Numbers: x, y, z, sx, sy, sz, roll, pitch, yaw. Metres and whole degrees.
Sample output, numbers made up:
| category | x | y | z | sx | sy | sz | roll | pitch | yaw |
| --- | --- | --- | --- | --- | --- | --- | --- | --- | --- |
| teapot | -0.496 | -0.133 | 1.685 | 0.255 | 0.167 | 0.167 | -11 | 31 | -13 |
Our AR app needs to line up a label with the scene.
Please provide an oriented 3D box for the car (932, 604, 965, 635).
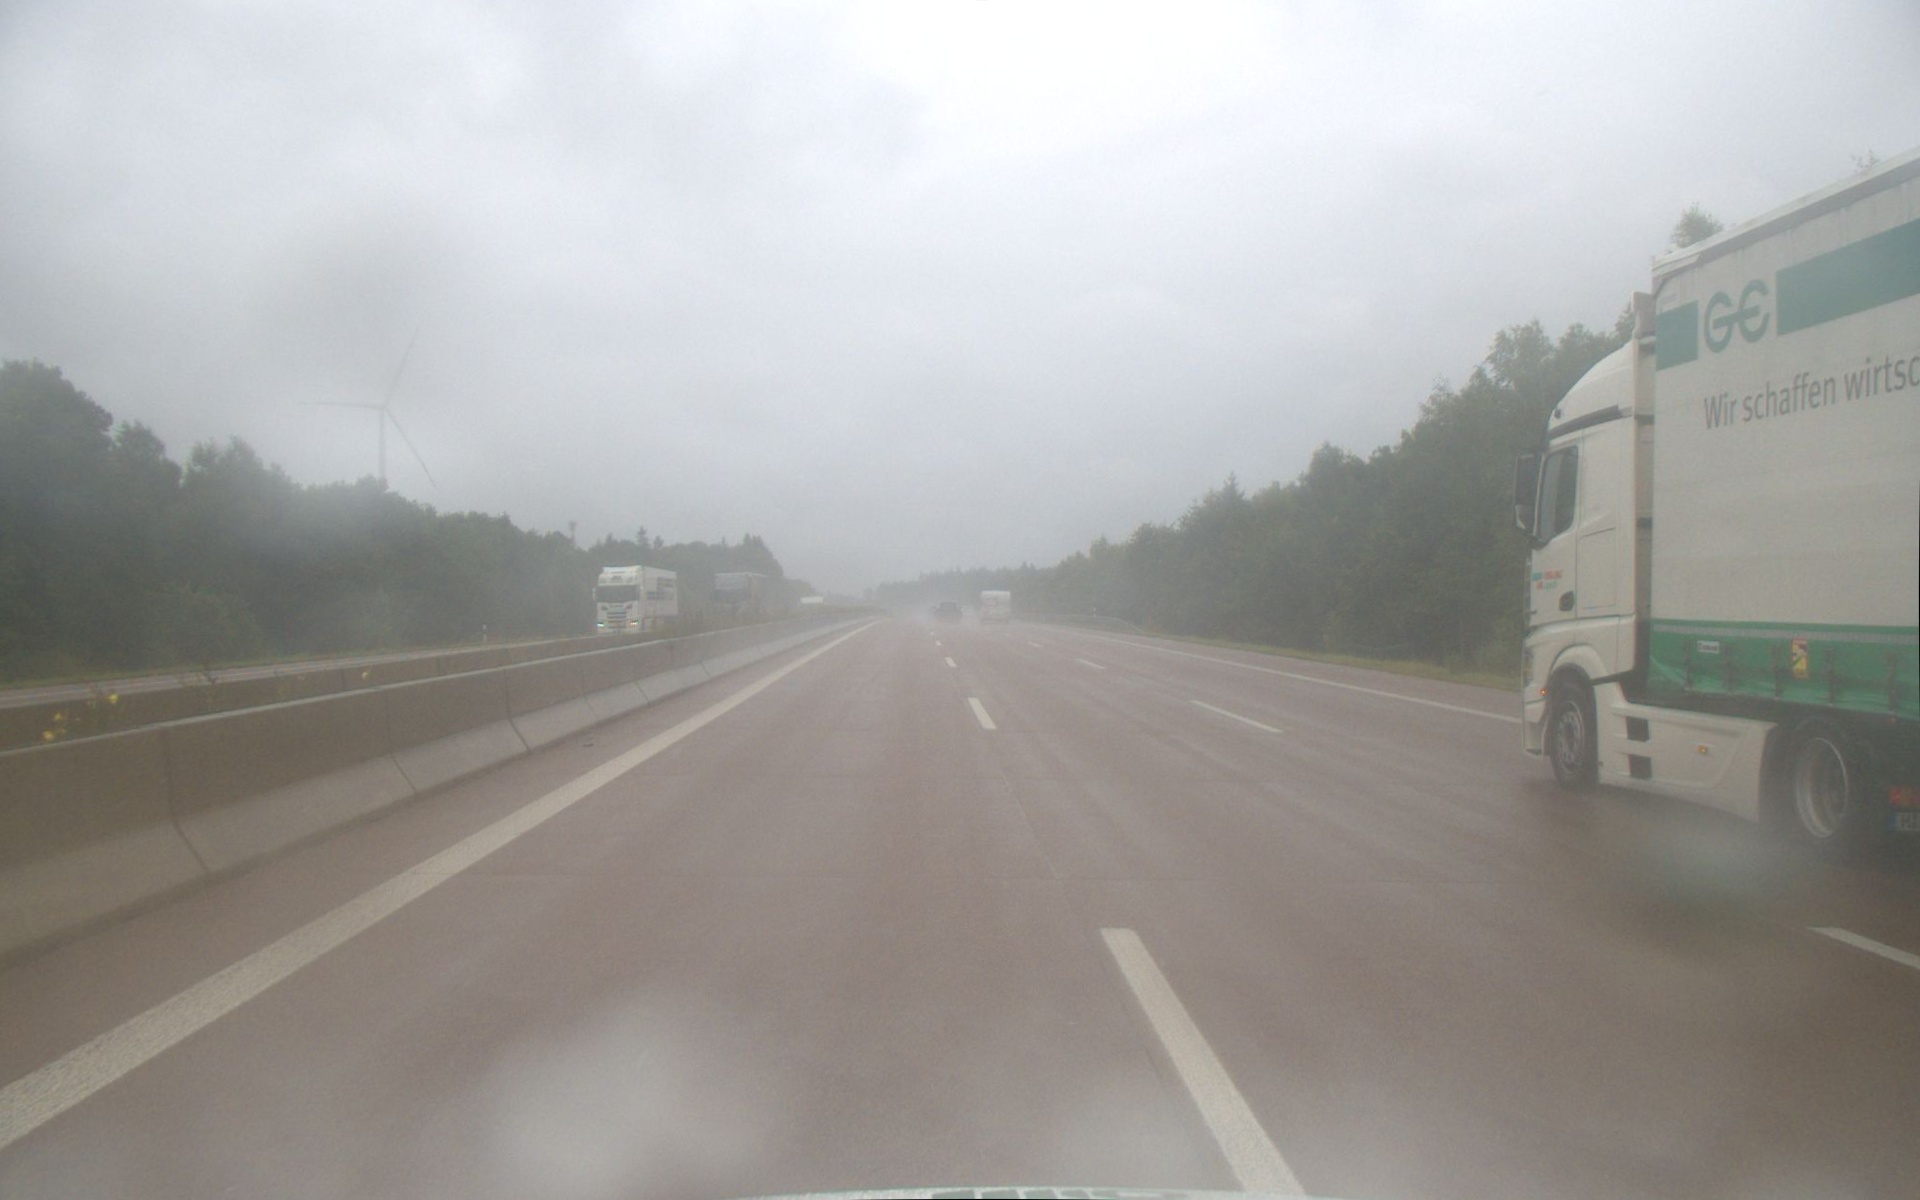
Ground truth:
| category | x | y | z | sx | sy | sz | roll | pitch | yaw |
| --- | --- | --- | --- | --- | --- | --- | --- | --- | --- |
| car | -0.804 | 1.315 | 113.176 | 2.130 | 2.016 | 4.129 | 3 | 0 | -1 |

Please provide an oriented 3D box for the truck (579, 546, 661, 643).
| category | x | y | z | sx | sy | sz | roll | pitch | yaw |
| --- | --- | --- | --- | --- | --- | --- | --- | --- | --- |
| truck | -20.181 | -0.285 | 98.591 | 3.350 | 5.473 | 8.154 | 1 | 0 | -2 |

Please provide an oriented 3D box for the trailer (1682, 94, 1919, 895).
| category | x | y | z | sx | sy | sz | roll | pitch | yaw |
| --- | --- | --- | --- | --- | --- | --- | --- | --- | --- |
| trailer | 6.707 | -0.540 | 5.048 | 2.795 | 4.305 | 13.127 | -1 | 1 | -2 |

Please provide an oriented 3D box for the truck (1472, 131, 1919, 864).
| category | x | y | z | sx | sy | sz | roll | pitch | yaw |
| --- | --- | --- | --- | --- | --- | --- | --- | --- | --- |
| truck | 6.436 | -0.647 | 12.672 | 2.822 | 4.178 | 6.347 | -1 | 1 | -2 |
